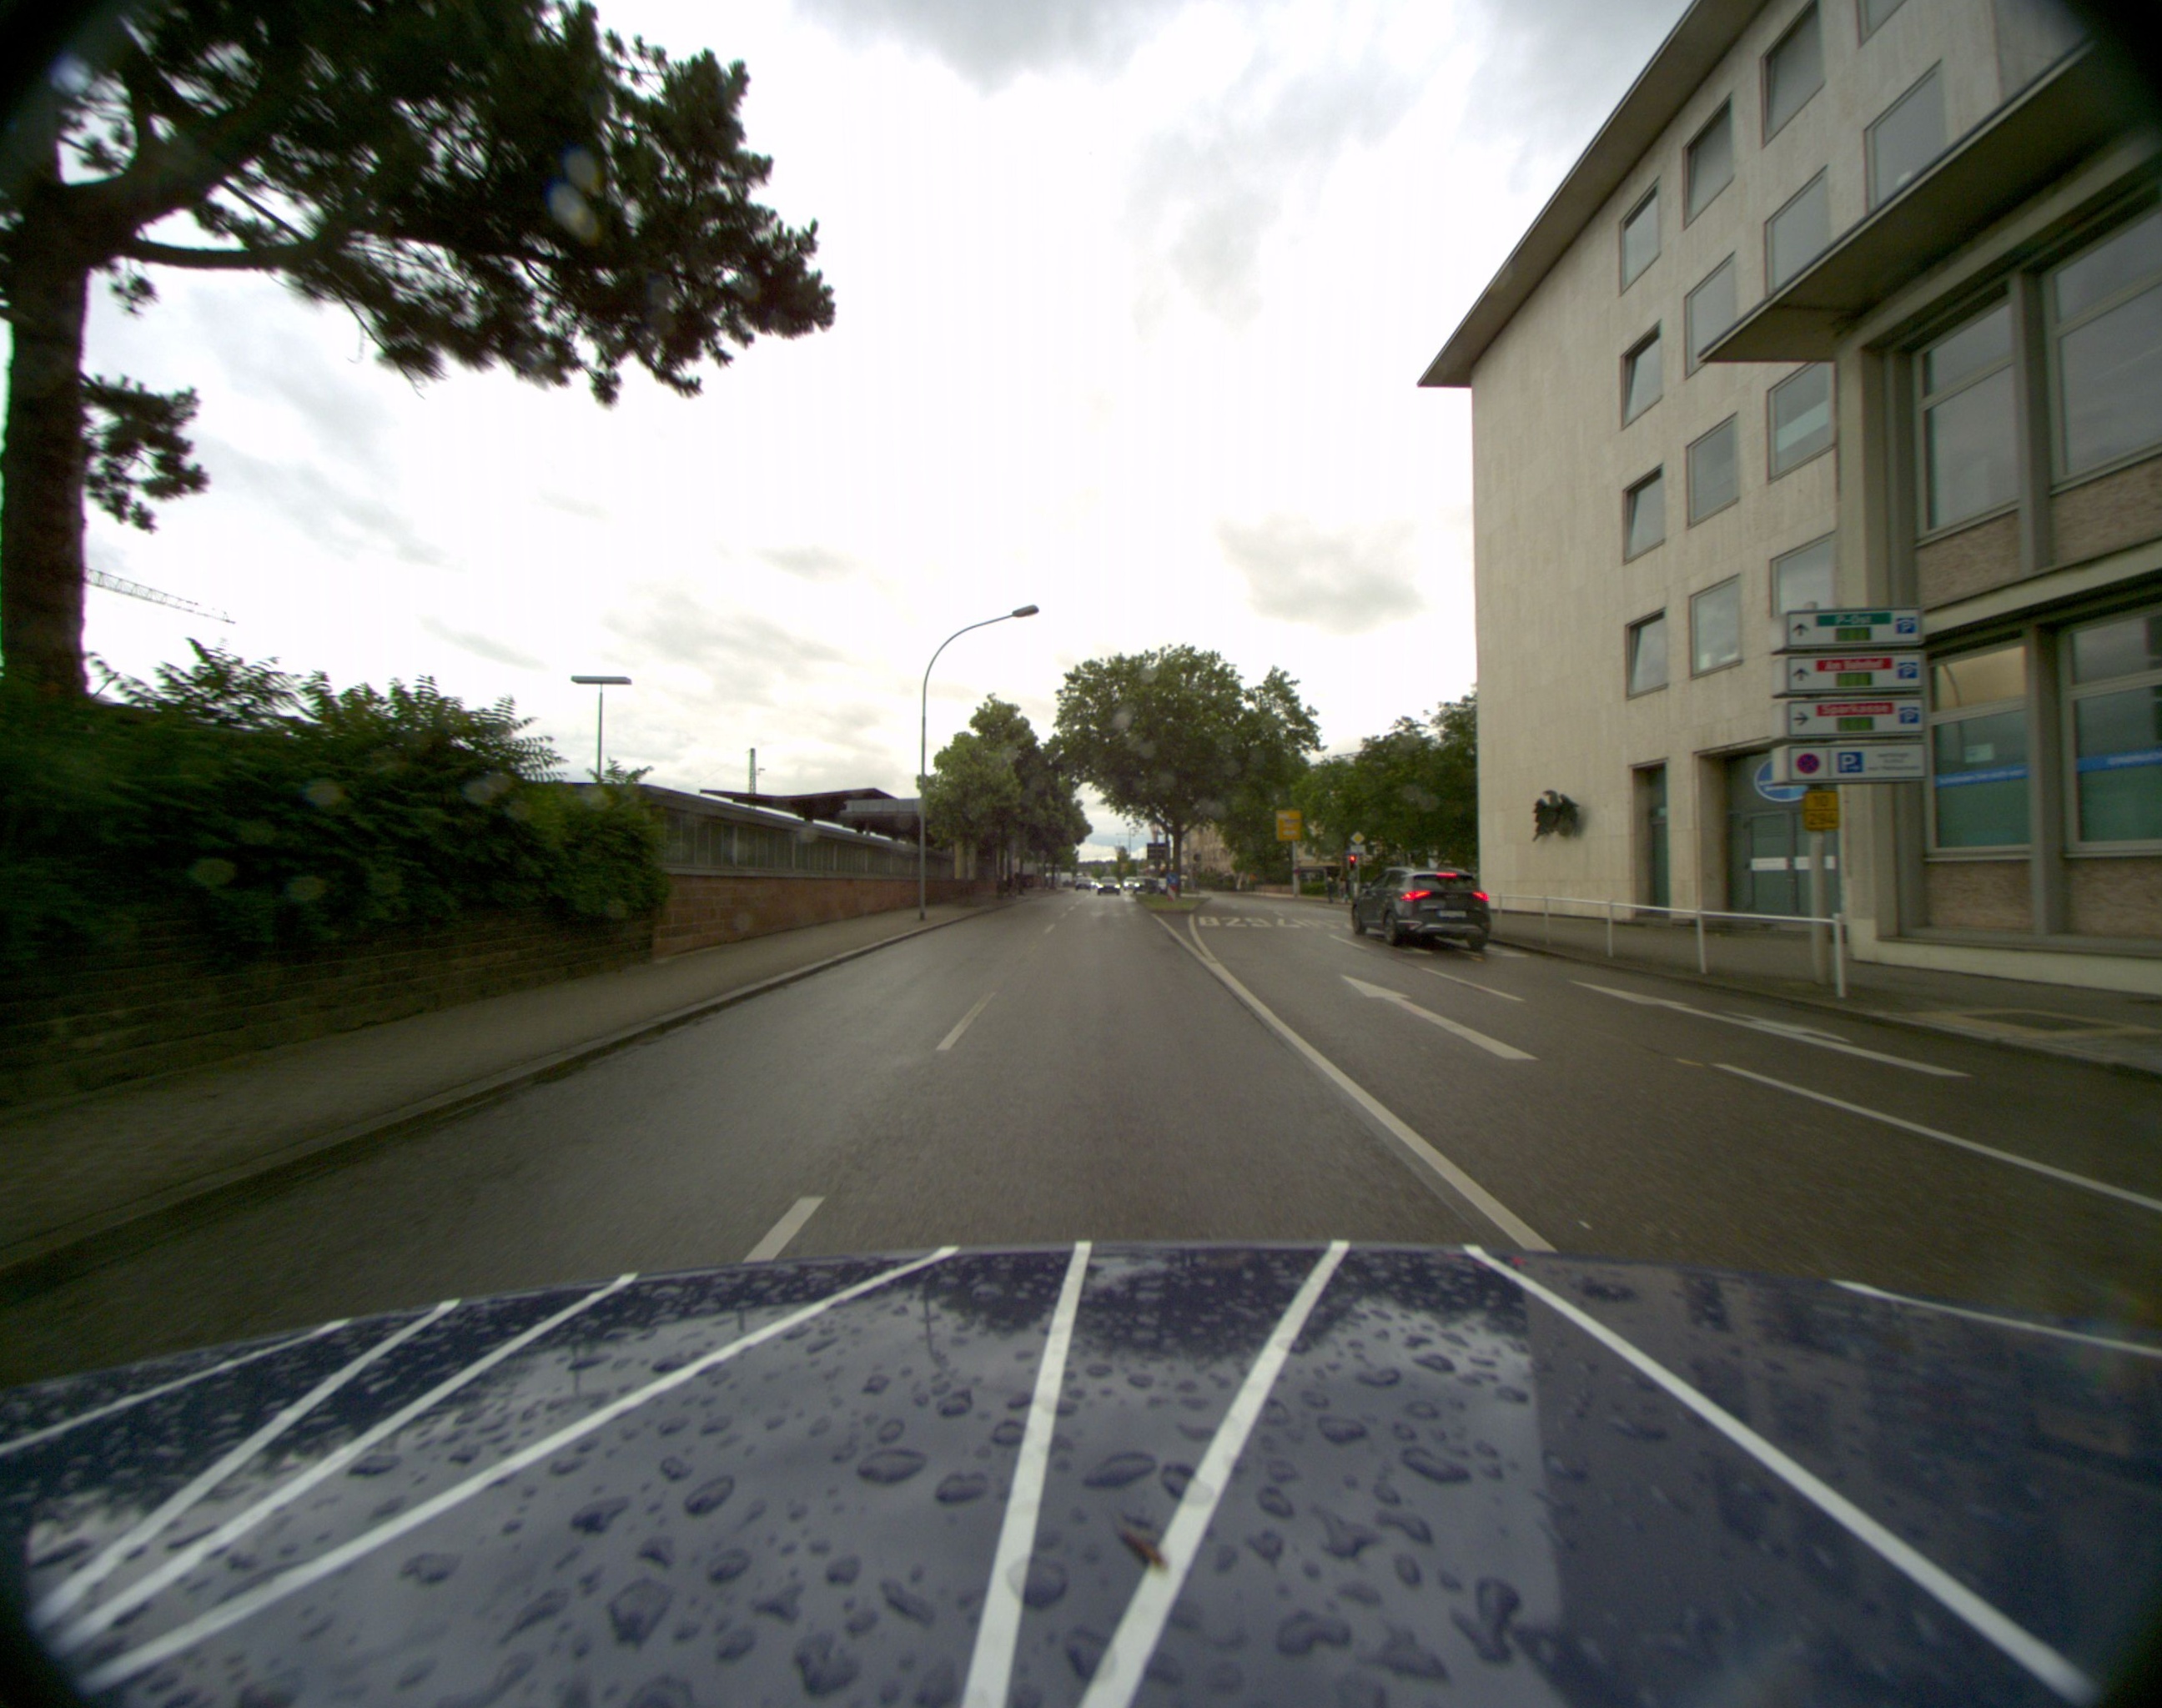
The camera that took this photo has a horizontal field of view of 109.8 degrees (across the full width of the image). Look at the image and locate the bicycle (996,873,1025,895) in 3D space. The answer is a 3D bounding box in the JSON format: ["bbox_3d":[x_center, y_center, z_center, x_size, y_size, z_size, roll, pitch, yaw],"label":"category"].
[{"bbox_3d":[-4.271,1.808,45.970,1.720,1.241,0.487,2,-1,34],"label":"bicycle"}]

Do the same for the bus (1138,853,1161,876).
[{"bbox_3d":[10.168,1.622,114.168,2.816,3.226,9.915,-1,-1,1],"label":"bus"}]

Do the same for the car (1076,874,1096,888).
[{"bbox_3d":[0.548,2.948,83.817,1.871,1.465,3.828,1,-2,4],"label":"car"}]

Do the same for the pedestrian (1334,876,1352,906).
[{"bbox_3d":[15.076,2.107,43.750,0.655,1.699,0.797,1,-1,-6],"label":"pedestrian"}]

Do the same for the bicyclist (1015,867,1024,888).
[{"bbox_3d":[-4.616,1.761,57.309,0.535,1.529,0.694,2,-1,-1],"label":"bicyclist"}]

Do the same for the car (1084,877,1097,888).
[{"bbox_3d":[1.247,3.765,101.324,1.619,1.477,3.671,1,-2,1],"label":"car"}]

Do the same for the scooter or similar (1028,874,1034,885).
[{"bbox_3d":[-5.320,2.702,81.139,0.494,1.146,1.545,1,-1,0],"label":"scooter or similar"}]

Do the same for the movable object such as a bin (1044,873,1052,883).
[{"bbox_3d":[-4.438,3.307,103.113,1.036,1.330,1.318,1,-2,0],"label":"movable object such as a bin"}]

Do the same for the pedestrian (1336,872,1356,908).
[{"bbox_3d":[15.539,2.107,44.600,0.936,2.033,0.874,1,-1,9],"label":"pedestrian"}]

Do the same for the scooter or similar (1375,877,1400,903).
[{"bbox_3d":[14.086,1.667,34.982,0.489,1.160,1.502,1,-1,-2],"label":"scooter or similar"}]

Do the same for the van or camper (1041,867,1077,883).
[{"bbox_3d":[-4.188,3.933,144.253,6.541,2.852,2.275,2,-2,-28],"label":"van or camper"}]

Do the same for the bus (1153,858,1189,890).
[{"bbox_3d":[10.623,2.428,90.744,2.962,3.418,12.563,1,-2,1],"label":"bus"}]

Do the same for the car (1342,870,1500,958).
[{"bbox_3d":[7.204,1.183,16.615,1.825,1.650,4.340,1,-1,5],"label":"car"}]

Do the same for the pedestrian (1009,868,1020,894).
[{"bbox_3d":[-4.069,1.653,46.350,0.456,1.559,0.394,1,-1,37],"label":"pedestrian"}]

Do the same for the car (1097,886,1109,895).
[{"bbox_3d":[4.104,6.698,139.880,1.983,1.438,3.909,-1,0,3],"label":"car"}]

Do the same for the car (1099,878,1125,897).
[{"bbox_3d":[2.471,2.621,59.733,1.871,1.465,3.828,1,-2,4],"label":"car"}]

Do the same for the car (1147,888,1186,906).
[{"bbox_3d":[7.281,3.667,65.186,1.822,1.400,4.409,1,-1,-14],"label":"car"}]

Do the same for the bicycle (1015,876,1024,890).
[{"bbox_3d":[-4.636,2.212,57.266,0.447,1.010,1.678,3,-1,0],"label":"bicycle"}]

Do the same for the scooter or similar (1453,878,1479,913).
[{"bbox_3d":[13.593,1.449,26.804,0.607,1.157,1.532,0,-2,36],"label":"scooter or similar"}]

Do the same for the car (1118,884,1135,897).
[{"bbox_3d":[5.559,4.424,92.537,1.983,1.437,3.910,2,-2,3],"label":"car"}]

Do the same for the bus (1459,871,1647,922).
[{"bbox_3d":[36.120,3.184,58.865,11.941,3.001,2.895,3,0,23],"label":"bus"}]

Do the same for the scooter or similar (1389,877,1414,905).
[{"bbox_3d":[14.049,1.599,33.302,0.571,1.184,1.575,1,-1,5],"label":"scooter or similar"}]

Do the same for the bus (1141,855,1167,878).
[{"bbox_3d":[9.997,1.720,104.748,2.759,3.113,8.844,-1,-1,1],"label":"bus"}]

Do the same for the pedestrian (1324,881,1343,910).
[{"bbox_3d":[14.285,2.345,42.946,0.655,1.593,0.924,1,-1,-9],"label":"pedestrian"}]

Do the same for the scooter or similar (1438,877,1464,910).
[{"bbox_3d":[13.720,1.447,28.125,0.607,1.184,1.532,0,-2,36],"label":"scooter or similar"}]

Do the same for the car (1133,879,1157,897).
[{"bbox_3d":[6.164,3.236,73.167,1.969,1.630,4.360,1,-1,1],"label":"car"}]
